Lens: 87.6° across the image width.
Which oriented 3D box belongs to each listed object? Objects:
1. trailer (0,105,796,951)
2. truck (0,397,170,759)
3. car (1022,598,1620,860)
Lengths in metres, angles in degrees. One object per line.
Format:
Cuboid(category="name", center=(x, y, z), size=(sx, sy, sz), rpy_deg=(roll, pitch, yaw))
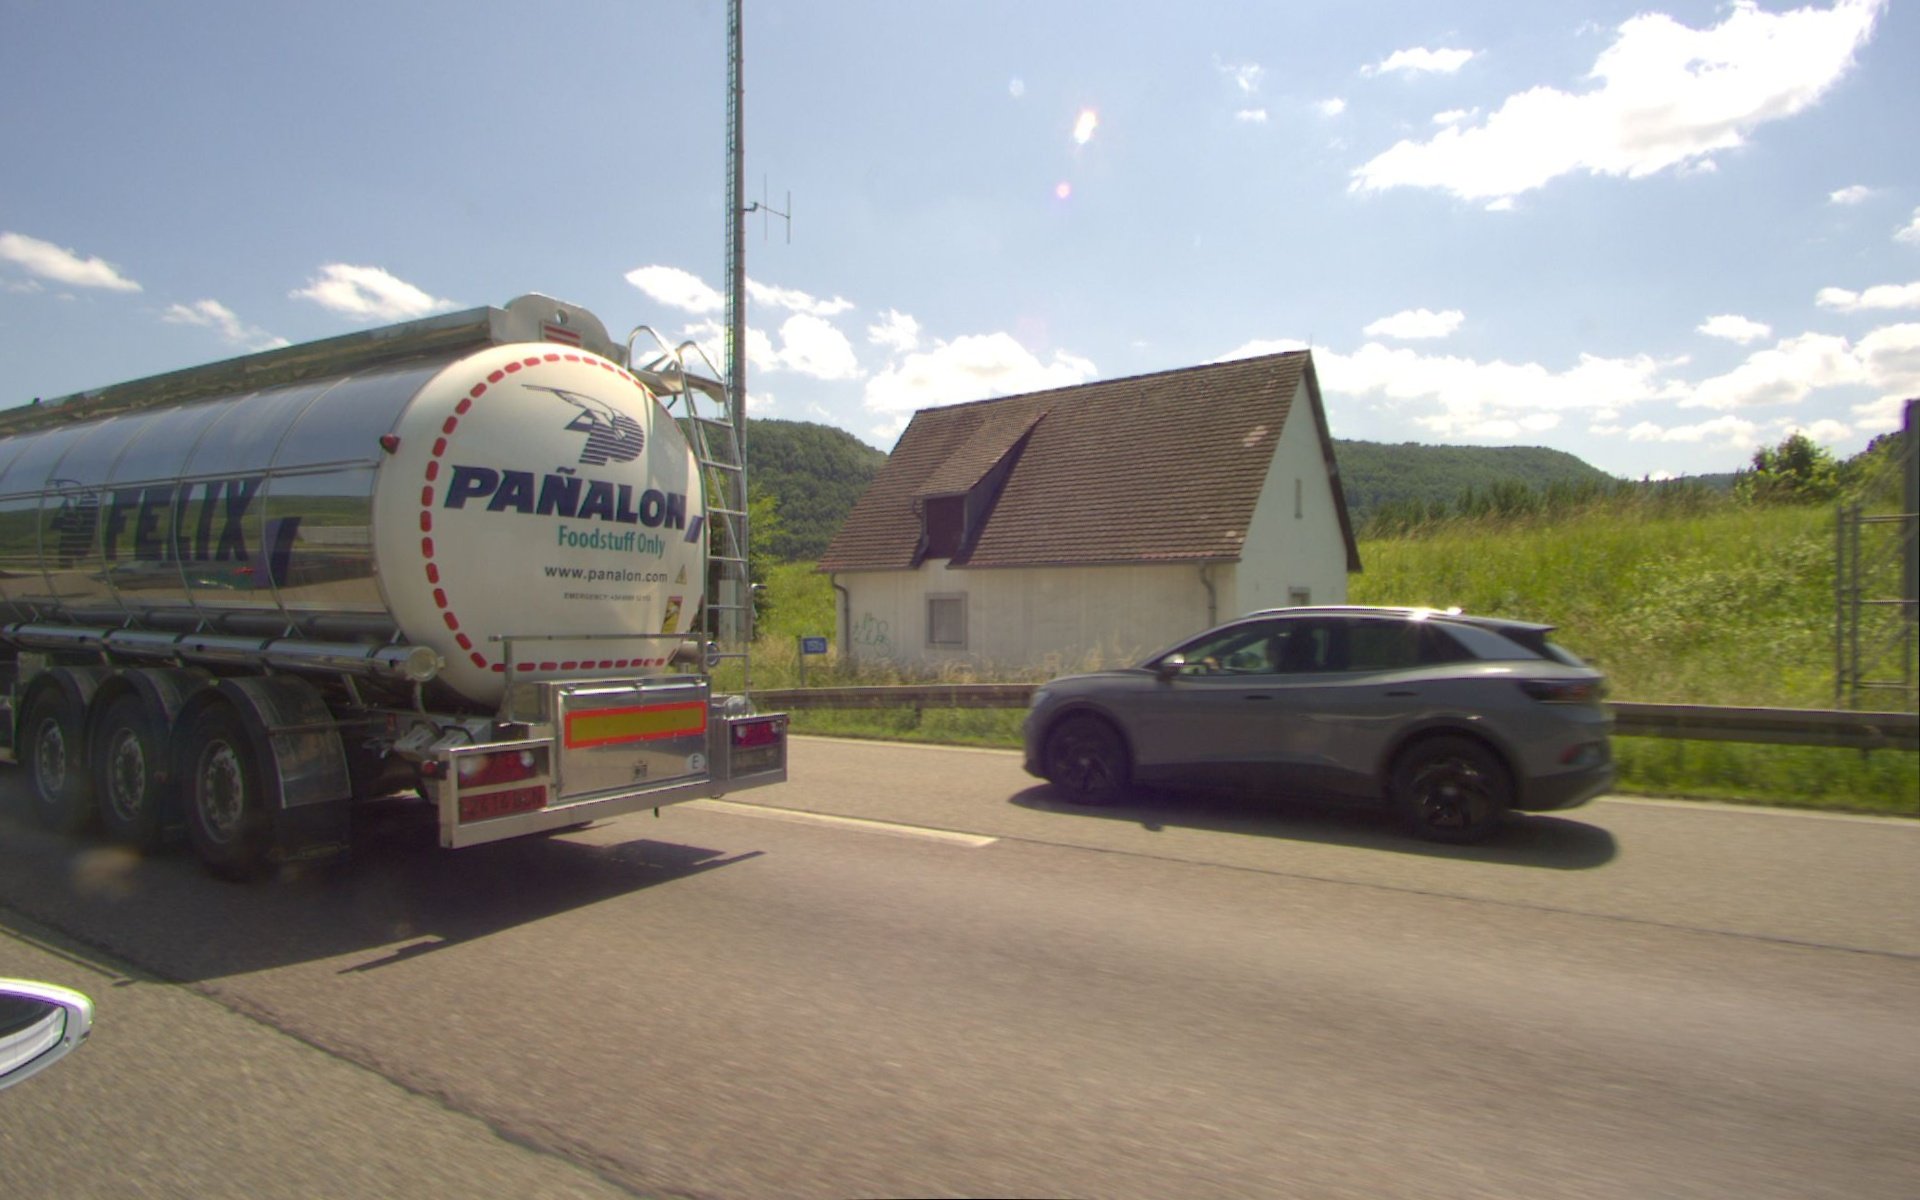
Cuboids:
Cuboid(category="trailer", center=(-6.716, -0.238, 8.671), size=(11.720, 3.784, 2.534), rpy_deg=(-1, -1, 32))
Cuboid(category="truck", center=(-12.170, -0.197, 12.104), size=(5.170, 3.807, 2.507), rpy_deg=(0, -1, 32))
Cuboid(category="car", center=(2.730, 0.837, 8.014), size=(4.187, 1.615, 1.677), rpy_deg=(-1, -1, 32))
